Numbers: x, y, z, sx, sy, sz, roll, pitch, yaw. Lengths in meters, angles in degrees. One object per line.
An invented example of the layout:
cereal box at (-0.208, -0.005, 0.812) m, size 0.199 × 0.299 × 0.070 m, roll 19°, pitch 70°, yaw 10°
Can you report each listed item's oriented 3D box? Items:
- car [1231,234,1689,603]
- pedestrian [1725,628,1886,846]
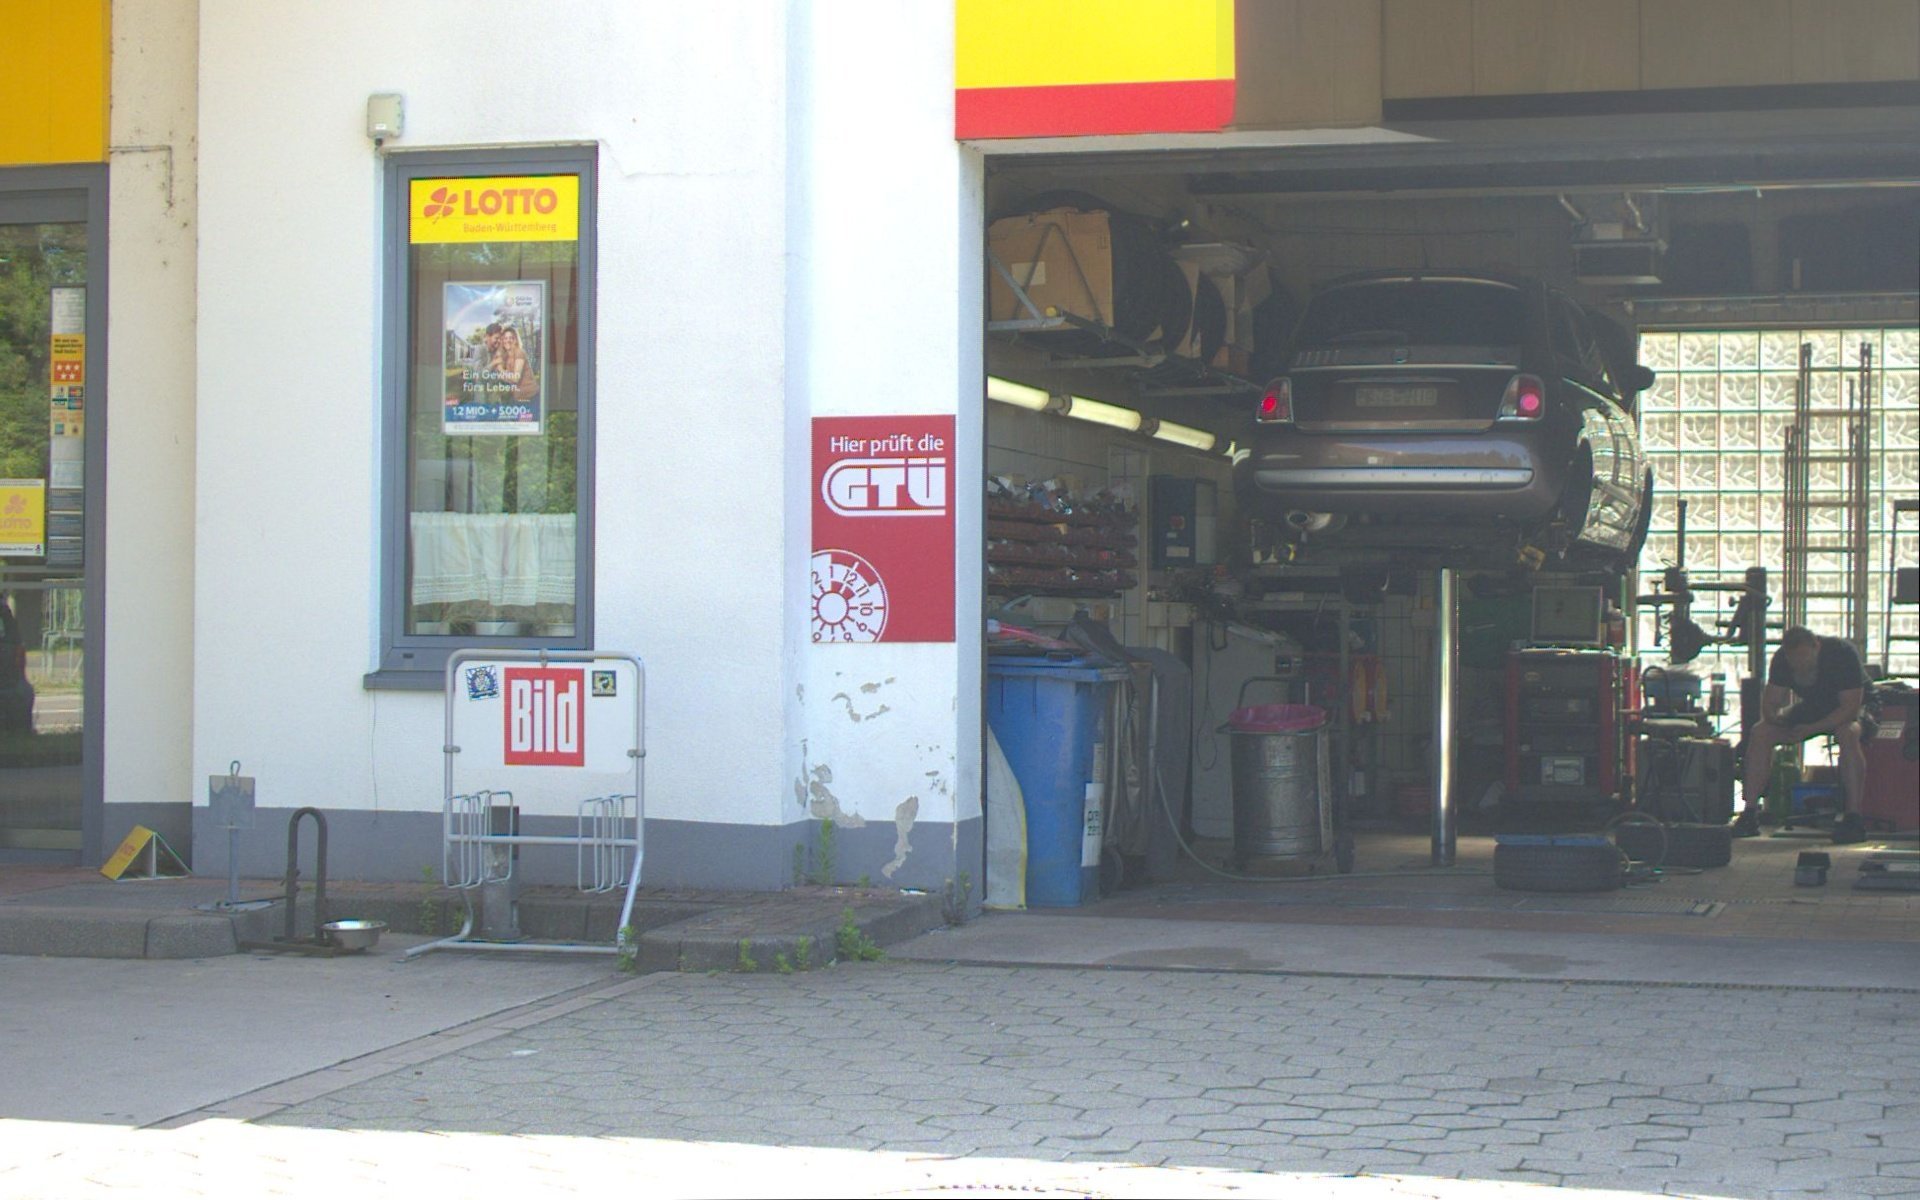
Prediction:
car at (2.634, -0.800, 17.341) m, size 1.648 × 1.481 × 3.996 m, roll 0°, pitch -2°, yaw 18°
pedestrian at (4.754, 0.768, 19.317) m, size 0.864 × 1.194 × 0.742 m, roll 0°, pitch -2°, yaw 15°
